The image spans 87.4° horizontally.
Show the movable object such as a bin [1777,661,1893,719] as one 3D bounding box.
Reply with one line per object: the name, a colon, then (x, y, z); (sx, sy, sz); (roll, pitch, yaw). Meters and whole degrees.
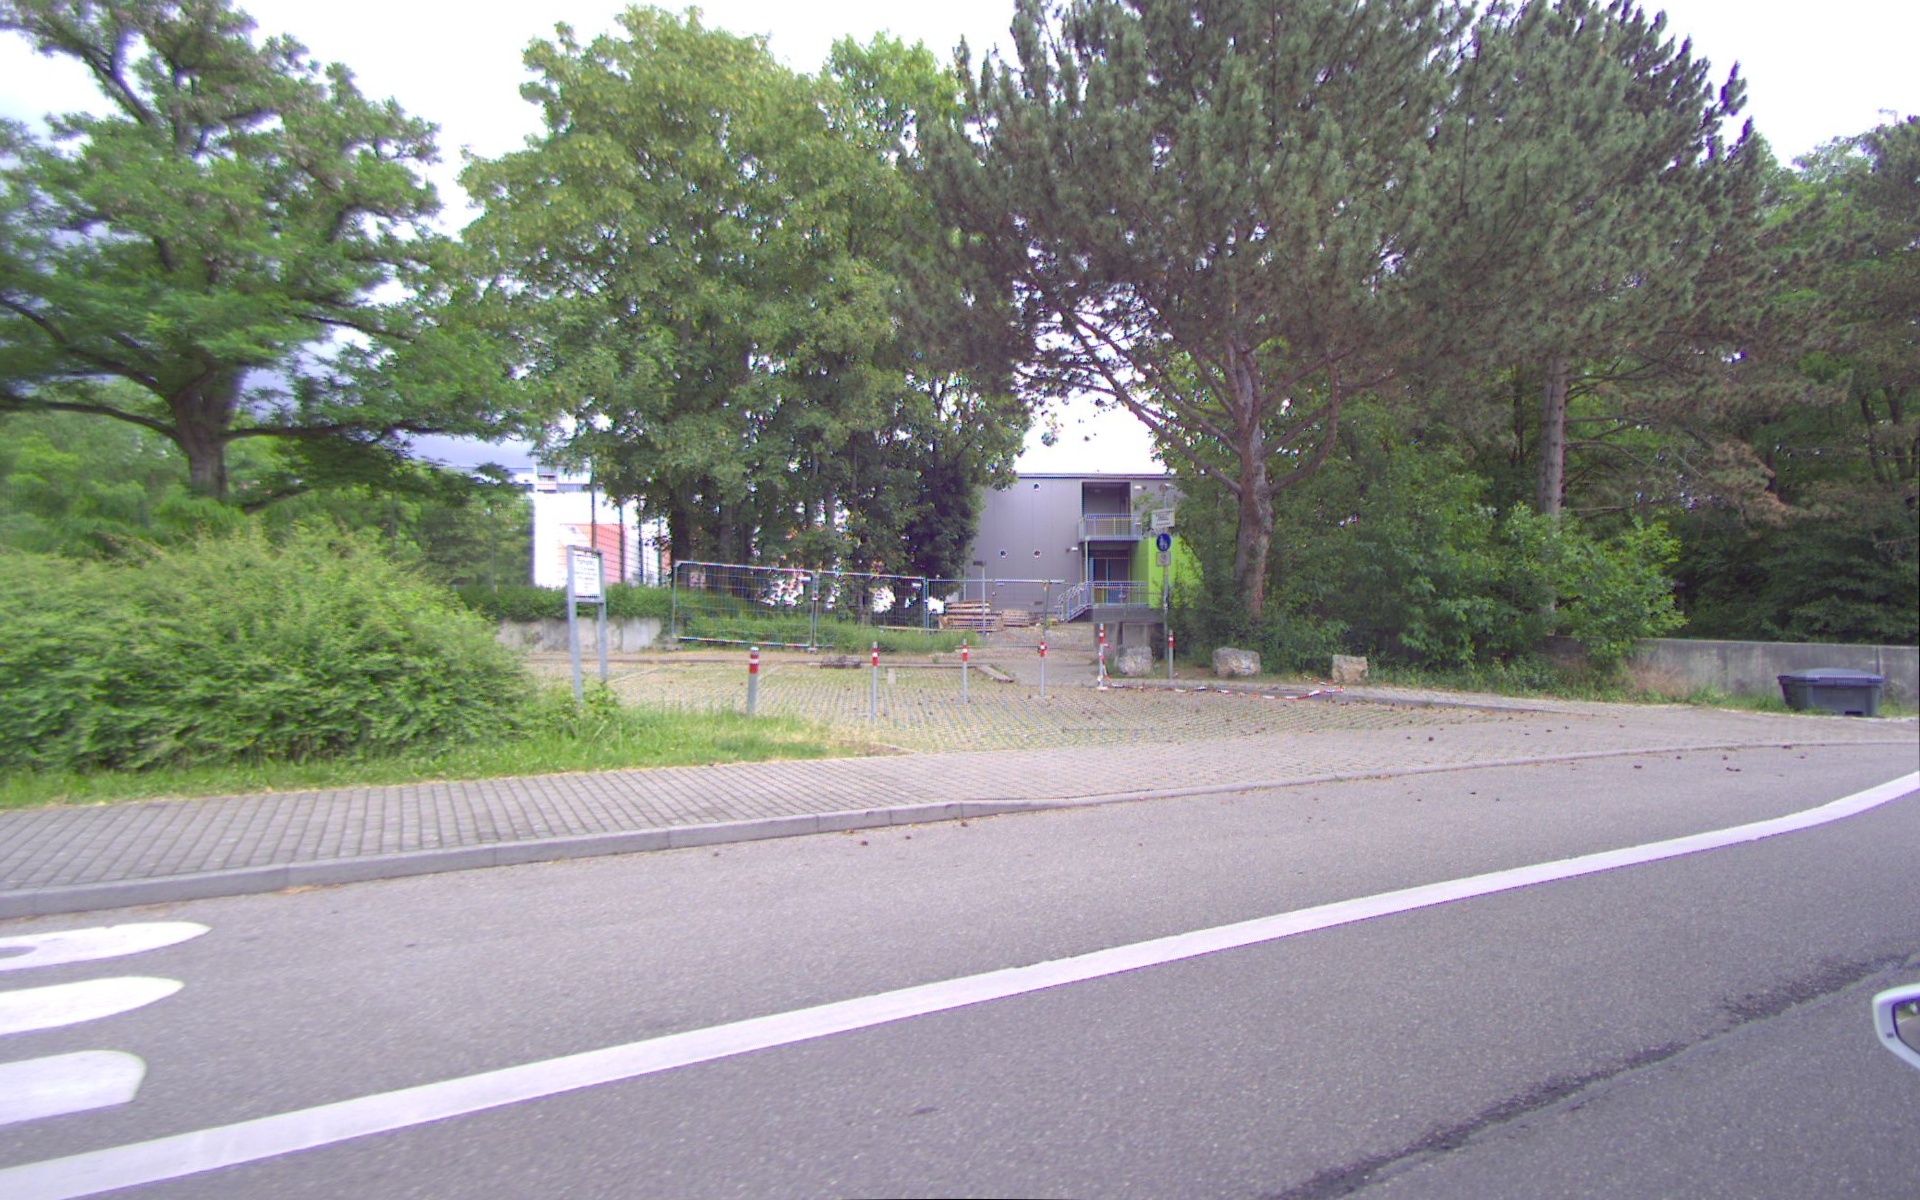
movable object such as a bin: (13.613, 1.381, 15.679); (1.126, 0.770, 1.048); (2, 0, 28)
